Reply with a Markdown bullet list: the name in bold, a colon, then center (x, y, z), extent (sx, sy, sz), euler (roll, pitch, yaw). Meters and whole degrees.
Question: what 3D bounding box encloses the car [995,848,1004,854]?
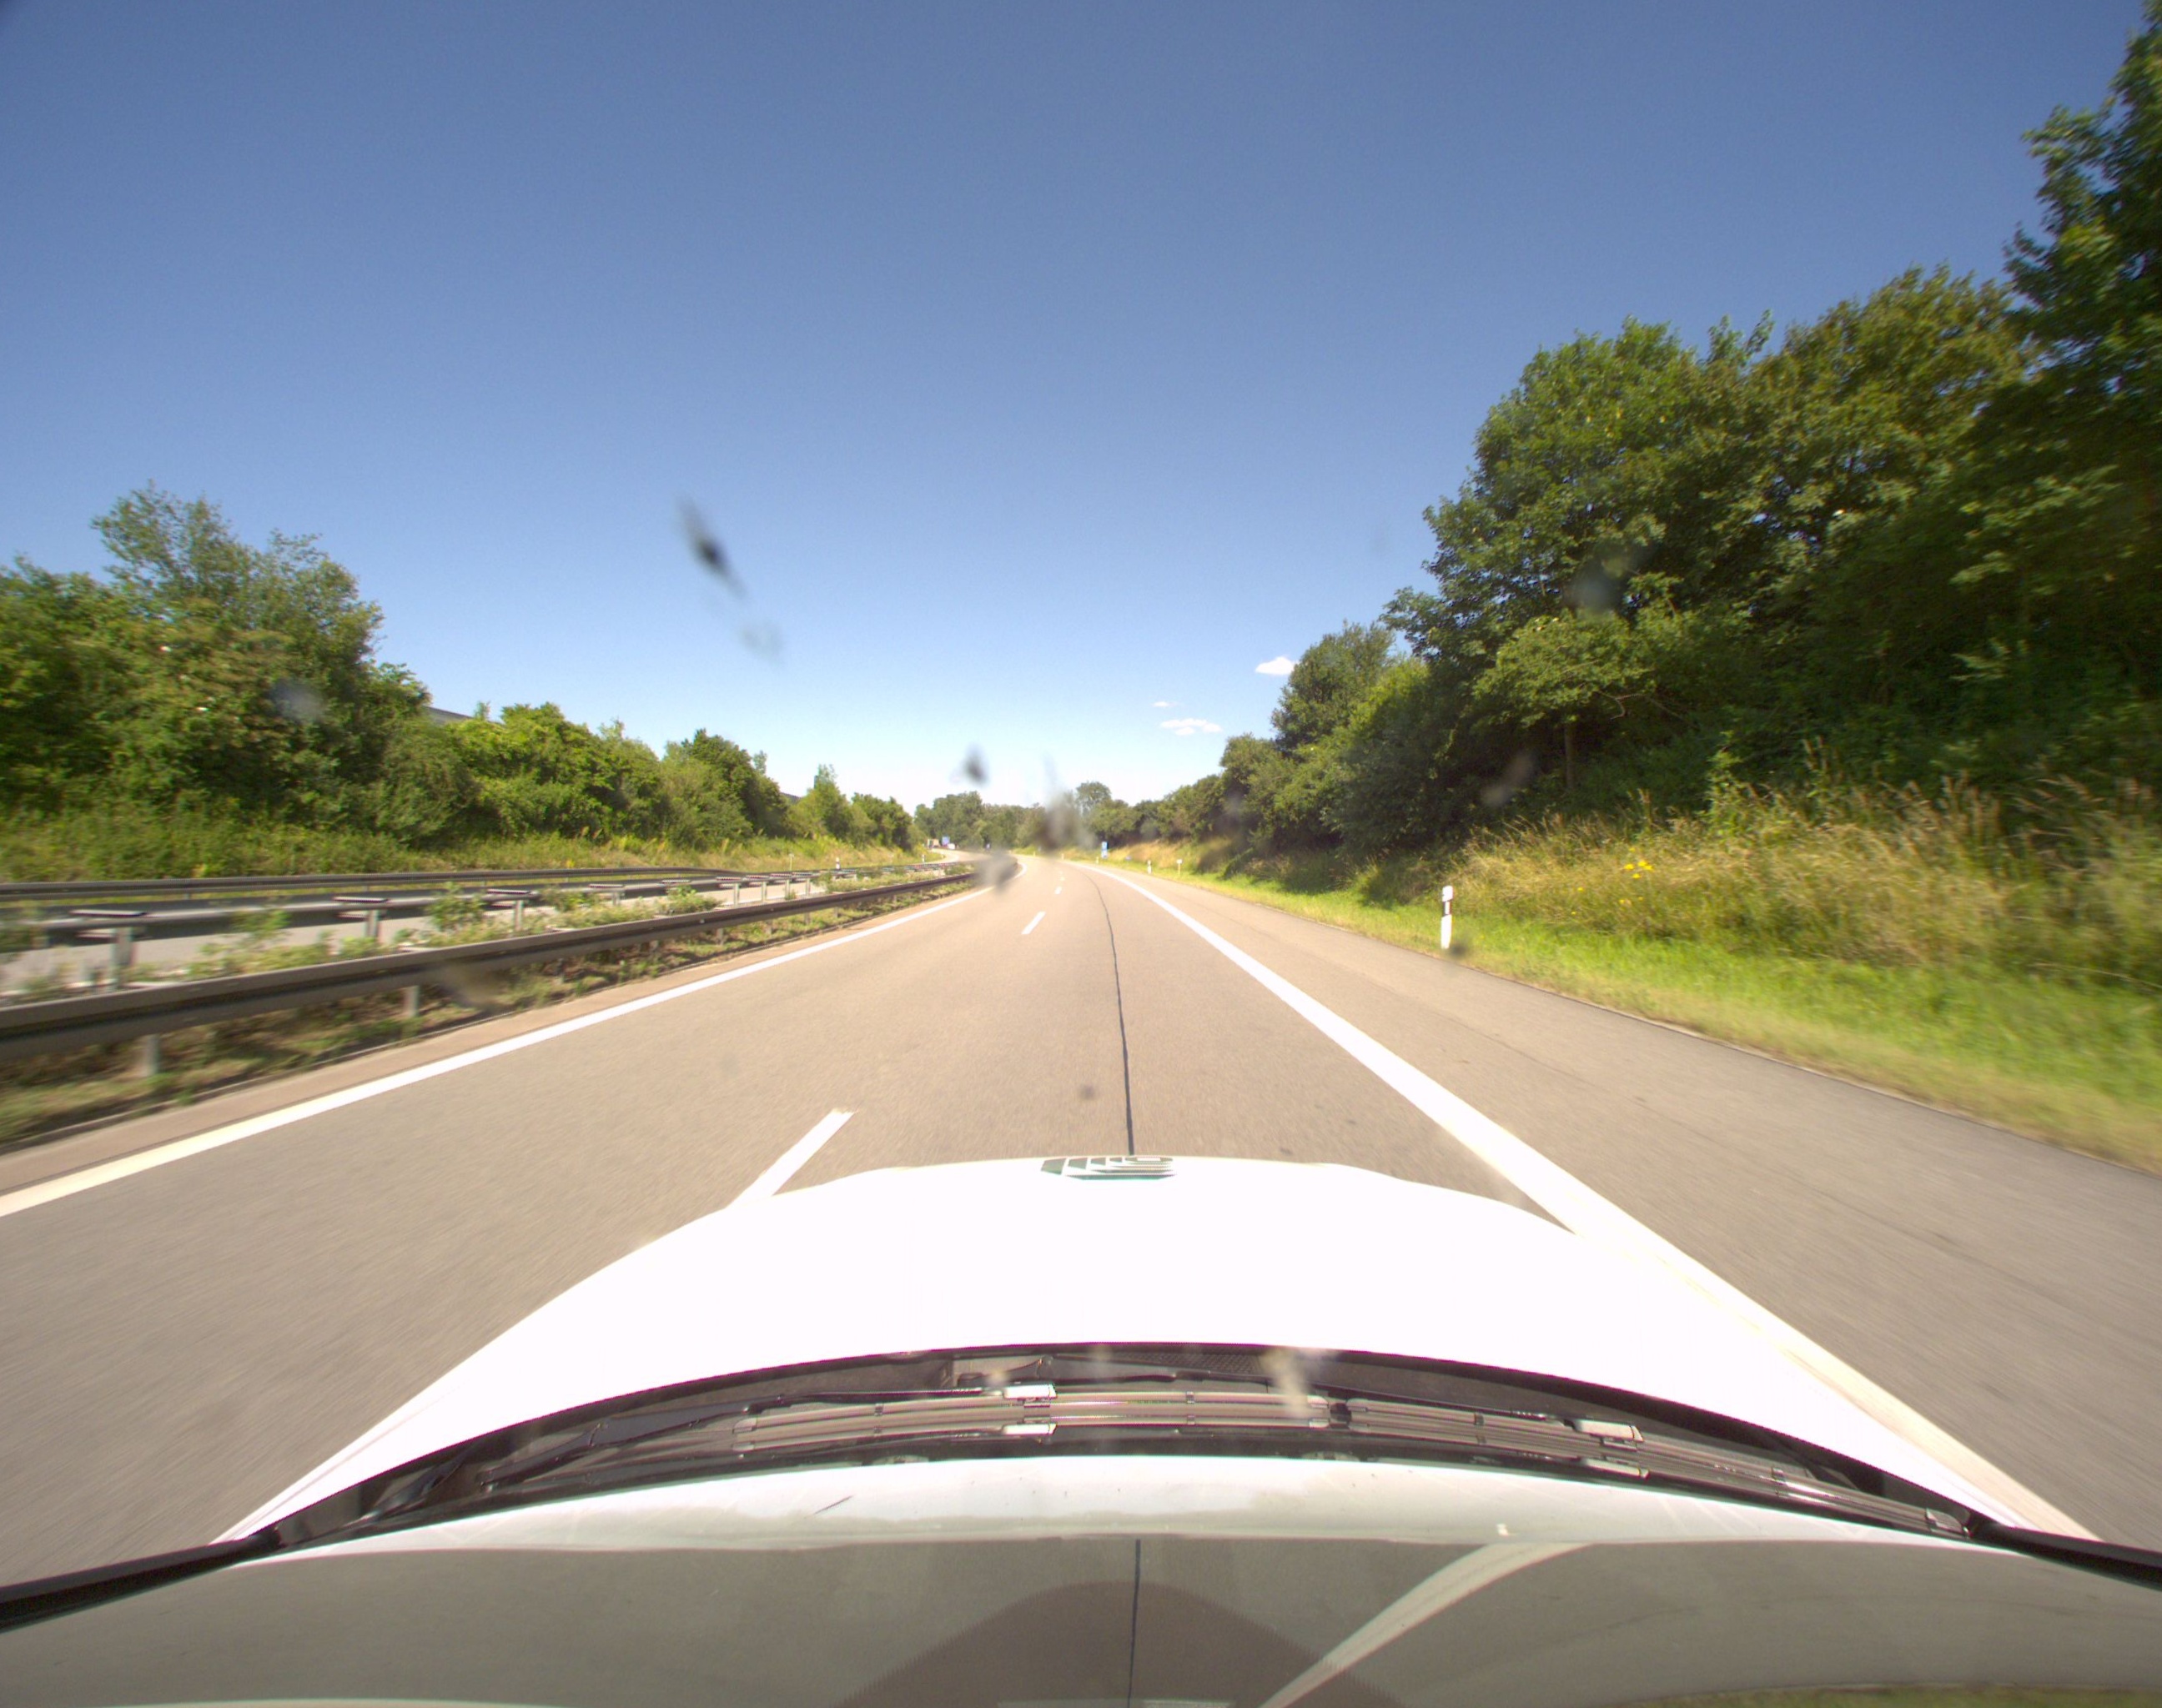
- **car**: center (-21.824, -0.819, 217.840), extent (2.064, 1.625, 3.982), euler (0, -1, -13)
